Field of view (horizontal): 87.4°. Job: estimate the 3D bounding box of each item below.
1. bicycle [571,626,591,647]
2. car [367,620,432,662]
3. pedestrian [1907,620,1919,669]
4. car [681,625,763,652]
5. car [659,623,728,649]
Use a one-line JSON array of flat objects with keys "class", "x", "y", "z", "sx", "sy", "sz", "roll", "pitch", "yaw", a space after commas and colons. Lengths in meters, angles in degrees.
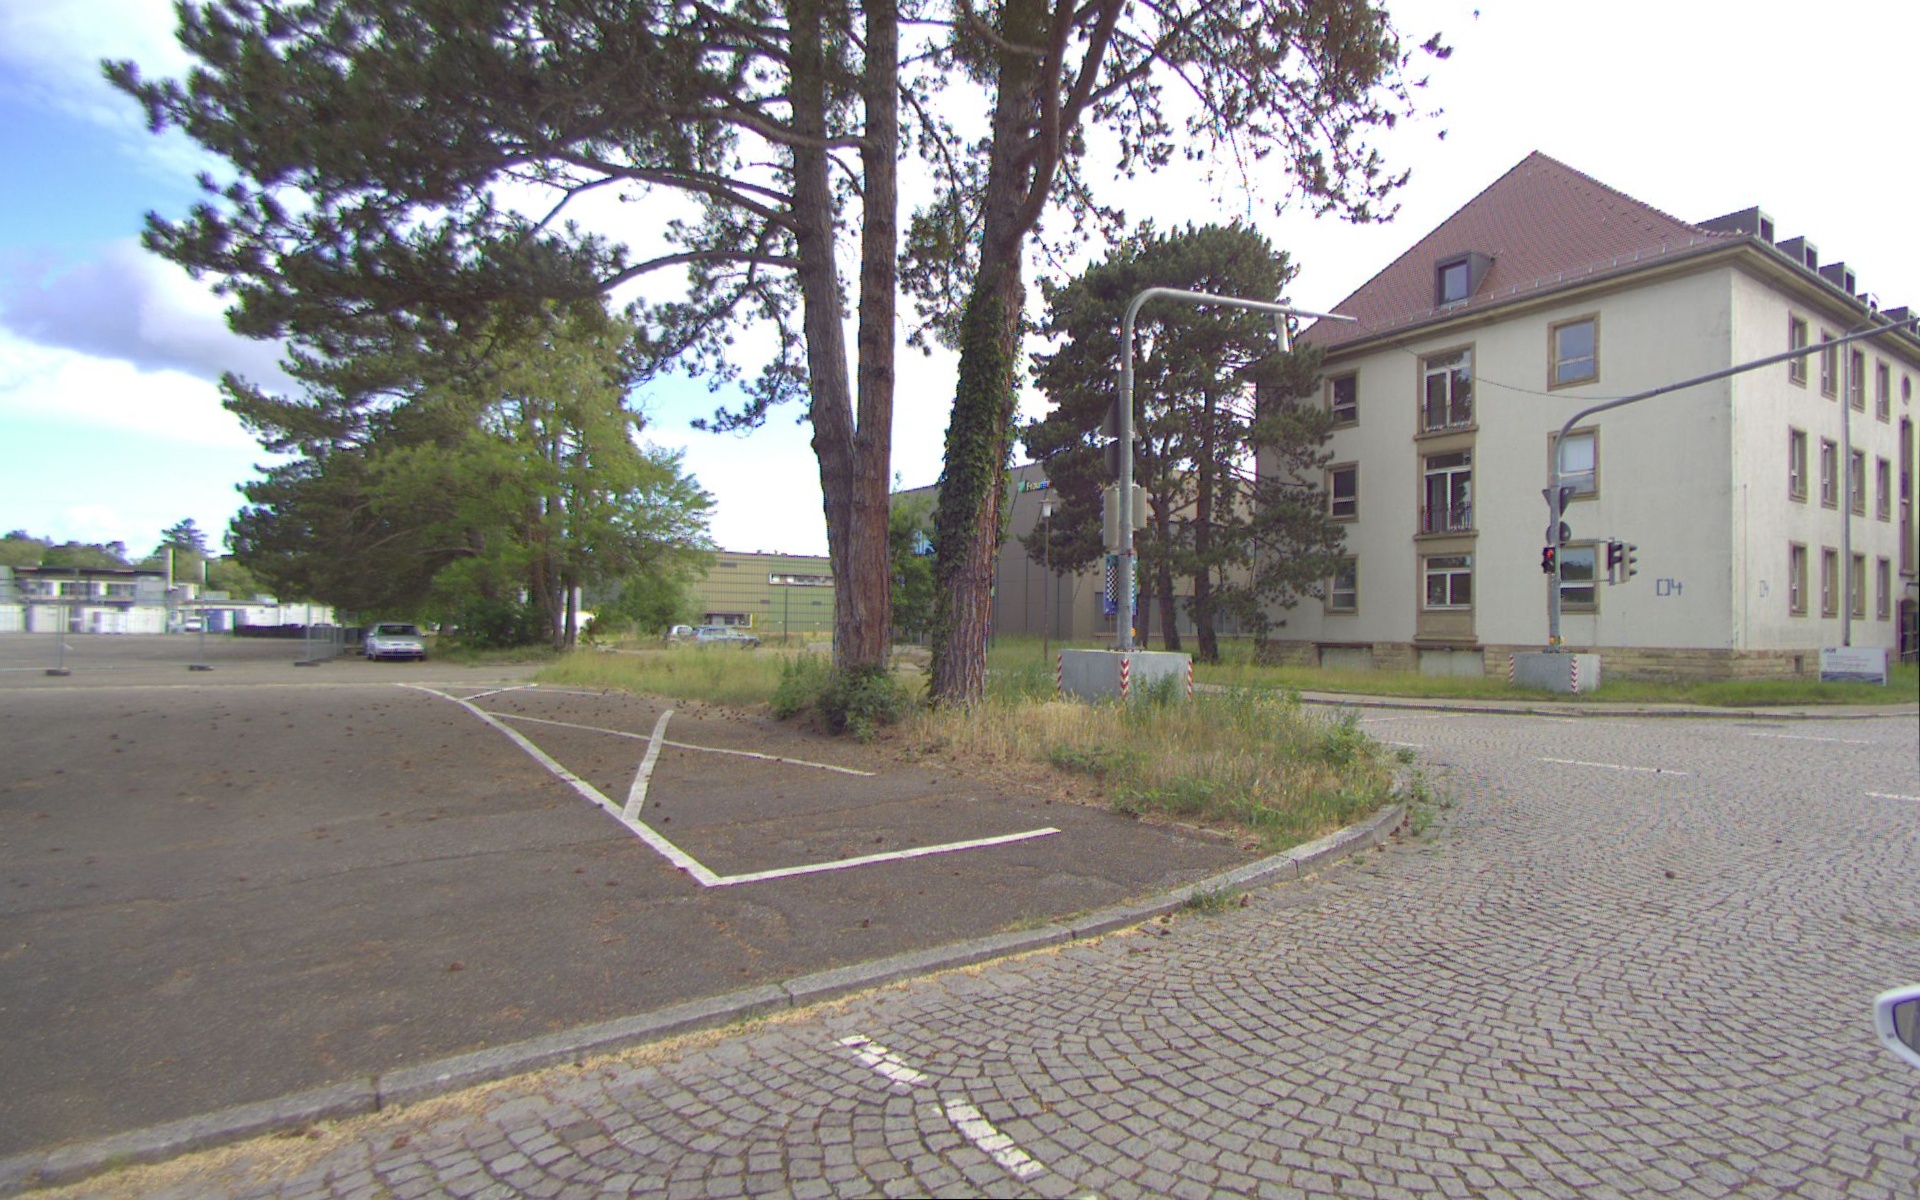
[{"class": "bicycle", "x": -26.525, "y": 2.568, "z": 70.254, "sx": 0.818, "sy": 1.395, "sz": 2.022, "roll": 2, "pitch": -1, "yaw": -35}, {"class": "car", "x": -21.281, "y": 1.525, "z": 38.064, "sx": 1.718, "sy": 1.451, "sz": 4.120, "roll": 2, "pitch": -1, "yaw": -35}, {"class": "pedestrian", "x": 35.917, "y": 1.651, "z": 37.293, "sx": 0.929, "sy": 1.804, "sz": 0.834, "roll": 1, "pitch": -1, "yaw": -29}, {"class": "car", "x": -14.329, "y": 2.306, "z": 60.680, "sx": 4.453, "sy": 1.482, "sz": 1.914, "roll": 0, "pitch": -1, "yaw": -37}, {"class": "car", "x": -17.831, "y": 2.379, "z": 67.235, "sx": 4.082, "sy": 1.593, "sz": 1.747, "roll": 0, "pitch": -1, "yaw": -37}]
